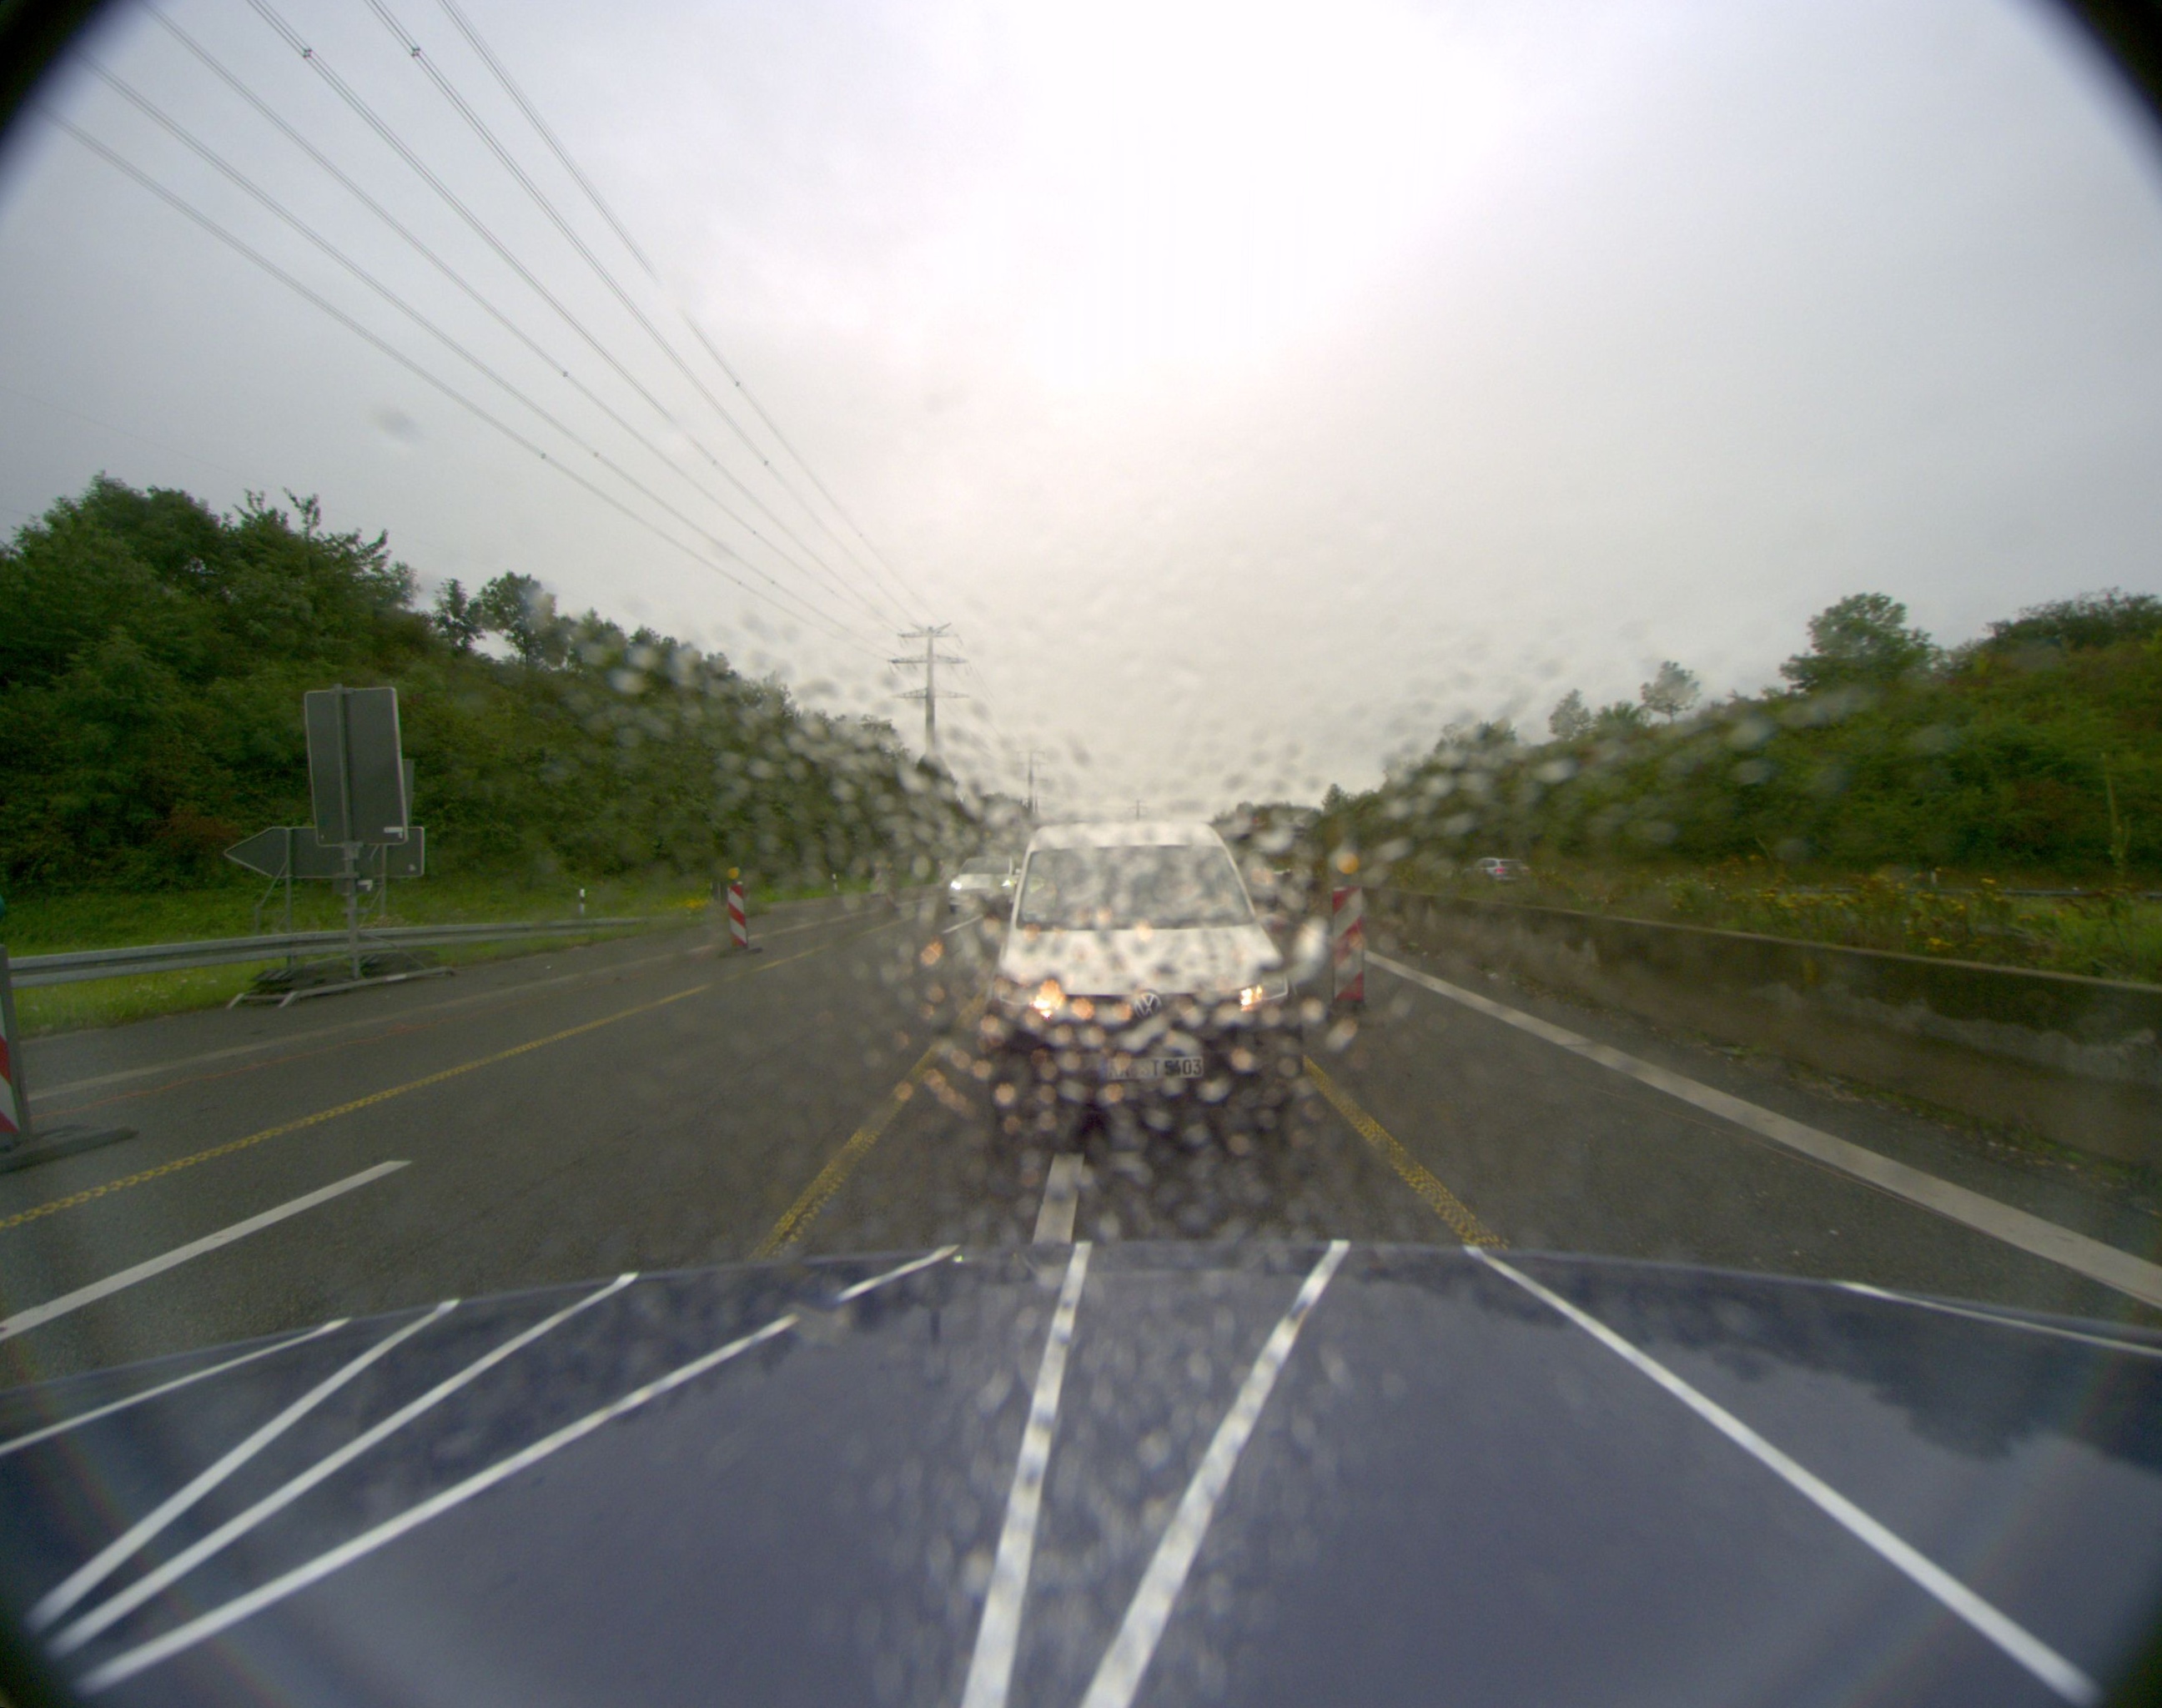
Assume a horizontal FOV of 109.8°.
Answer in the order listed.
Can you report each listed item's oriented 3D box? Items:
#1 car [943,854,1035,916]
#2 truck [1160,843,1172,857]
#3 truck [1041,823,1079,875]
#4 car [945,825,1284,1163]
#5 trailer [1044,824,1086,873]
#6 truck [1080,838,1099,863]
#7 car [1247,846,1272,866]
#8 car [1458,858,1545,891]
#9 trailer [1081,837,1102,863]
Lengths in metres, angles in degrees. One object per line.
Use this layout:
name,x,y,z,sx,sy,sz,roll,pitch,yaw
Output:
car,-2.733,0.861,24.040,2.051,1.587,5.801,-2,0,1
truck,29.967,-1.506,268.326,3.414,4.498,17.288,-1,1,3
truck,-1.626,-0.409,60.897,2.553,3.924,4.000,-2,1,4
car,0.208,0.754,6.441,1.770,1.774,4.647,-2,0,1
trailer,-1.237,-0.550,67.247,2.525,3.812,12.352,-2,1,4
truck,1.420,-0.602,124.109,2.747,3.912,5.398,-2,1,4
car,22.897,0.267,97.712,2.245,2.426,5.885,0,0,4
car,20.030,0.930,36.373,1.998,1.471,4.109,0,0,2
trailer,1.888,-0.763,129.532,2.808,3.980,14.150,-2,1,4
